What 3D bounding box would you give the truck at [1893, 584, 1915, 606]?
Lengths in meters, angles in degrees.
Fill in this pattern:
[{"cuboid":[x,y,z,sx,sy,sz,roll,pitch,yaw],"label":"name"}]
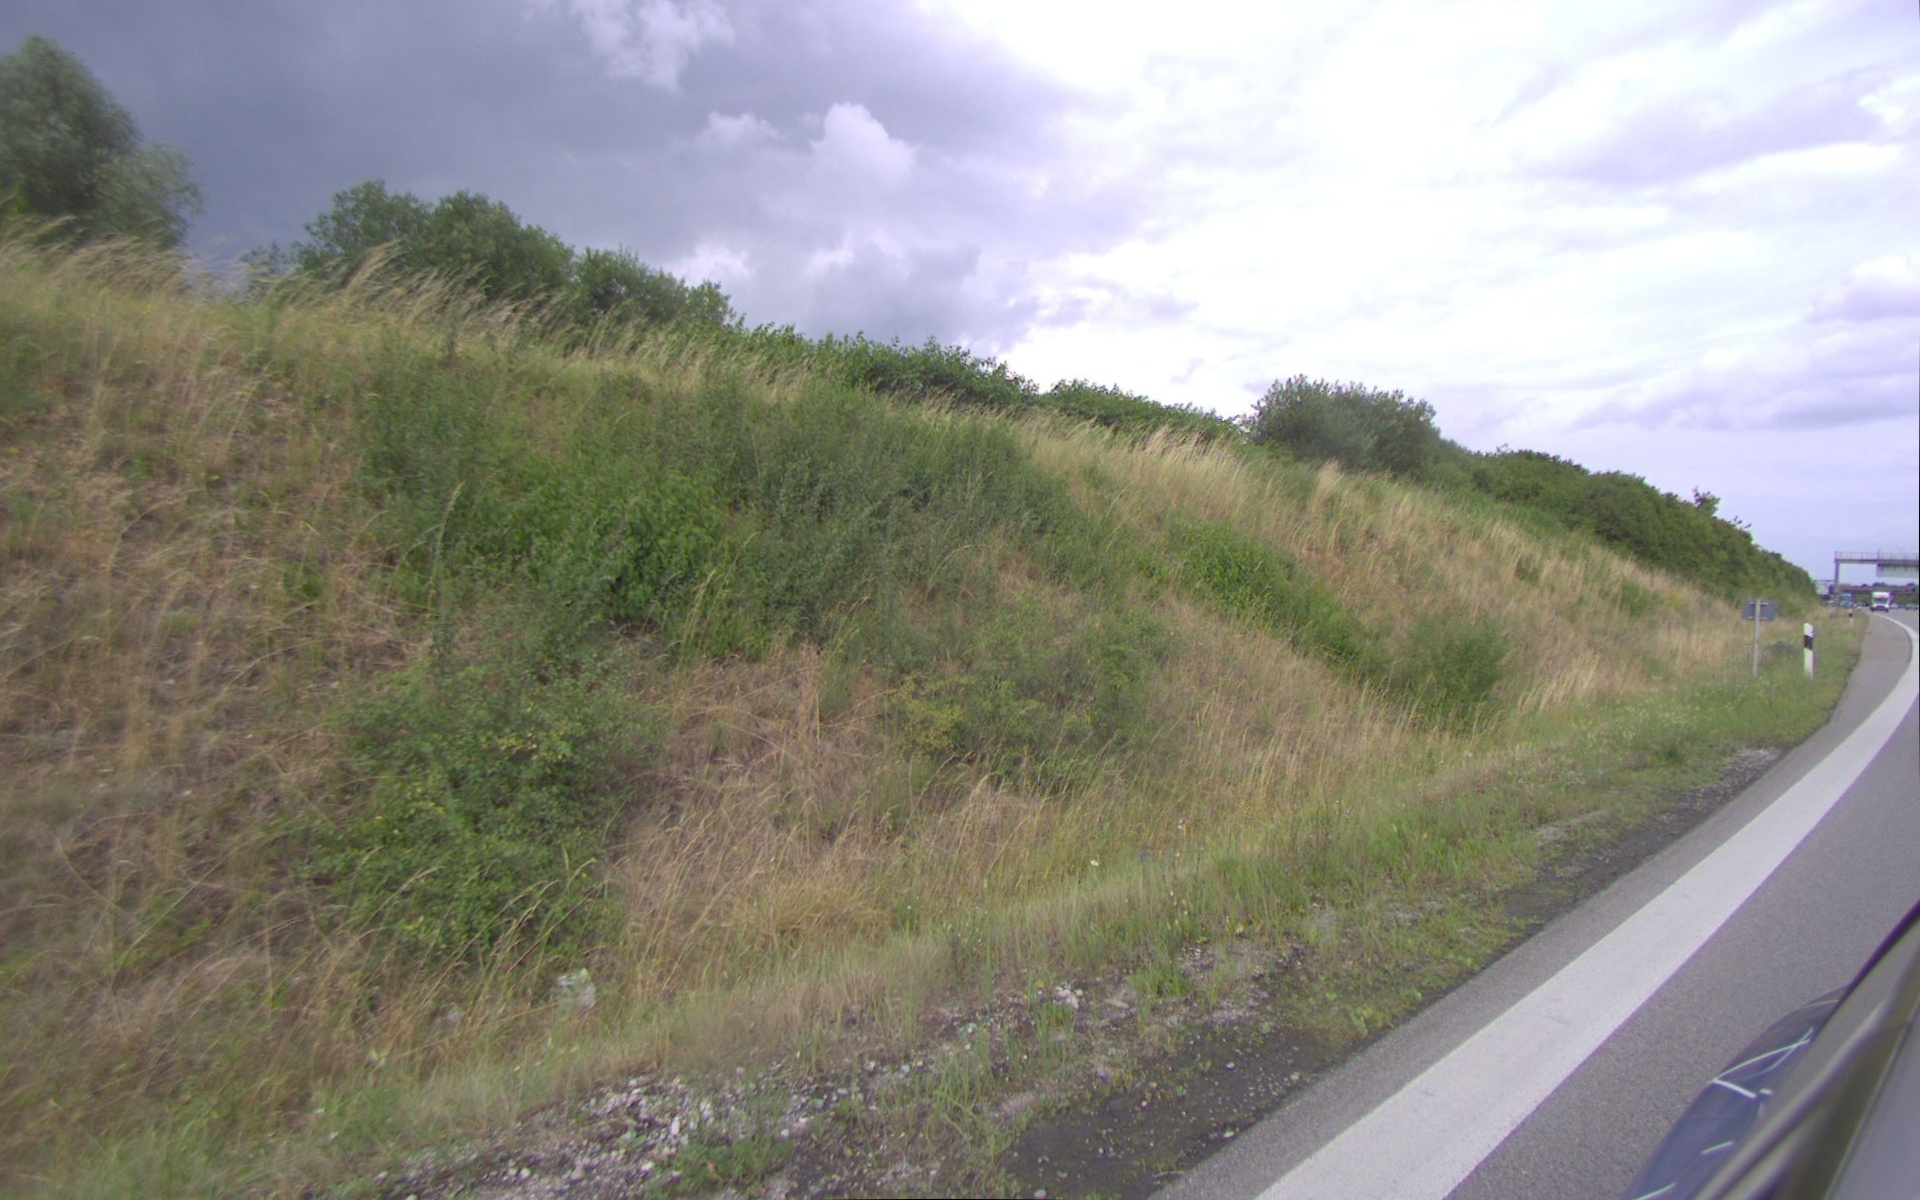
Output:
[{"cuboid":[150.253,-0.808,161.046,2.442,3.276,7.079,2,1,43],"label":"truck"}]
